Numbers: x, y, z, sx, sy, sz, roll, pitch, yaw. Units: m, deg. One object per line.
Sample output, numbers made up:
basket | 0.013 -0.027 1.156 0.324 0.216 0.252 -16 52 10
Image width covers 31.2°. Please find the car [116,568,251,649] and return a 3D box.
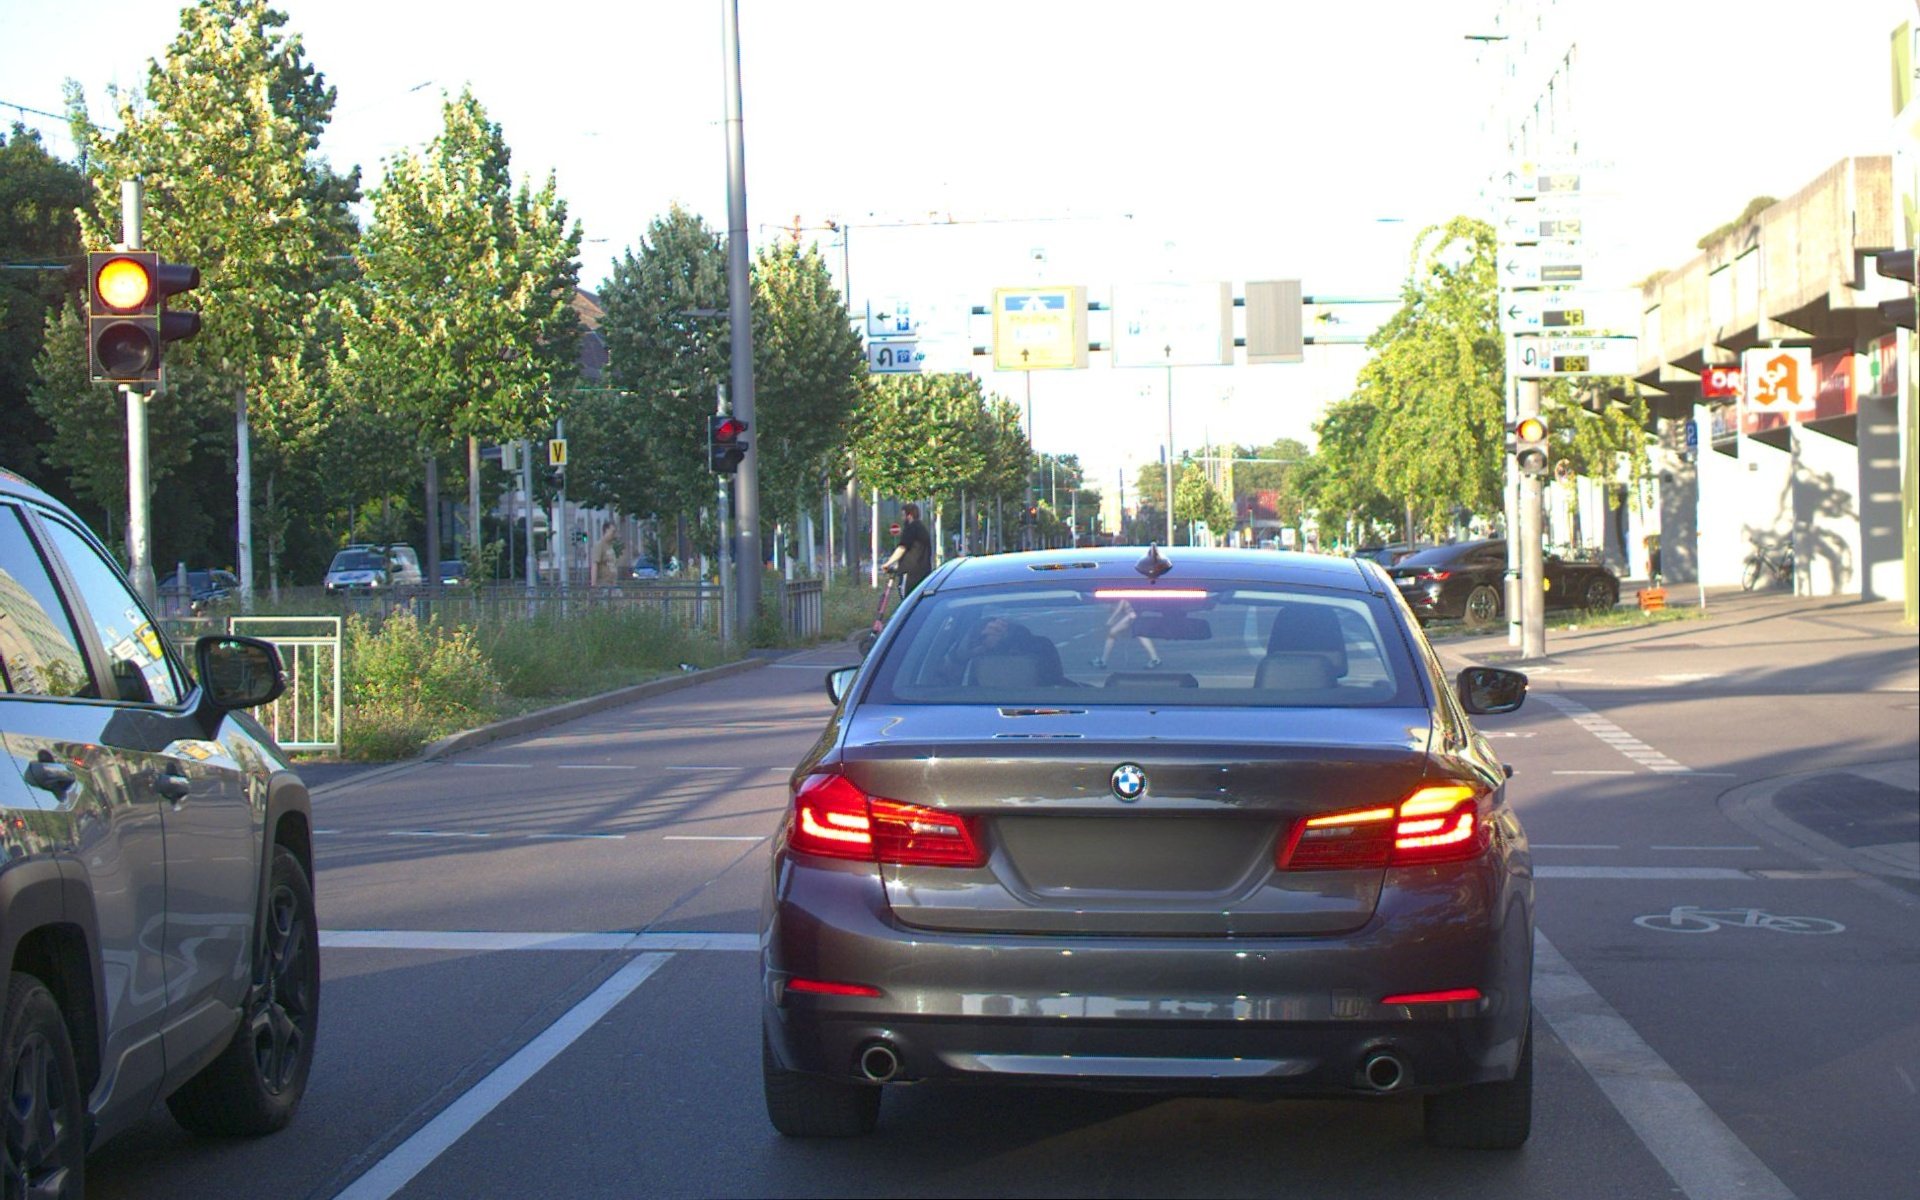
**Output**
car | -18.306 0.171 81.258 1.993 1.738 4.751 0 2 2

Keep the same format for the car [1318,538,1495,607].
car | 11.393 -0.717 87.655 4.254 1.653 1.861 -1 2 -32

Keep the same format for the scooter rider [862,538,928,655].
scooter rider | -0.847 -0.047 45.123 0.820 1.509 0.653 -1 1 1

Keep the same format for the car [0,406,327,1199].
car | -2.520 0.463 6.991 1.854 1.653 4.269 0 2 -3

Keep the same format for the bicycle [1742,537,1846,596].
bicycle | 17.251 -0.697 71.144 2.017 1.145 0.690 2 0 10

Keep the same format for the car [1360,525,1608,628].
car | 9.059 -0.436 59.296 4.256 1.653 1.860 -2 3 -39

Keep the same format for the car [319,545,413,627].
car | -16.700 -0.422 96.912 1.993 2.160 4.751 0 2 -2

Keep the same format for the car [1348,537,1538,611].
car | 11.436 -0.642 81.368 4.254 1.653 1.861 -1 2 -32

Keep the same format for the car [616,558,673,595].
car | -13.136 -0.982 143.360 1.800 1.476 3.783 -1 1 4

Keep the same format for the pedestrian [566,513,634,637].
pedestrian | -5.043 -0.352 48.183 0.835 1.706 0.647 -1 1 2

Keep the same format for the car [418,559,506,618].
car | -15.913 -0.385 110.037 1.993 1.738 4.751 0 2 2

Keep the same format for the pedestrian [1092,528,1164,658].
pedestrian | 2.098 -0.093 42.824 0.835 1.581 0.812 -1 1 4

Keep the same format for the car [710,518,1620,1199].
car | 0.584 0.540 9.586 1.932 1.476 4.522 0 2 4

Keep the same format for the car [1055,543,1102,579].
car | 5.181 -1.708 149.844 1.979 1.428 4.843 0 2 3

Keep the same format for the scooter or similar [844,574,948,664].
scooter or similar | -0.837 0.245 45.095 1.329 1.149 0.513 -1 1 1
